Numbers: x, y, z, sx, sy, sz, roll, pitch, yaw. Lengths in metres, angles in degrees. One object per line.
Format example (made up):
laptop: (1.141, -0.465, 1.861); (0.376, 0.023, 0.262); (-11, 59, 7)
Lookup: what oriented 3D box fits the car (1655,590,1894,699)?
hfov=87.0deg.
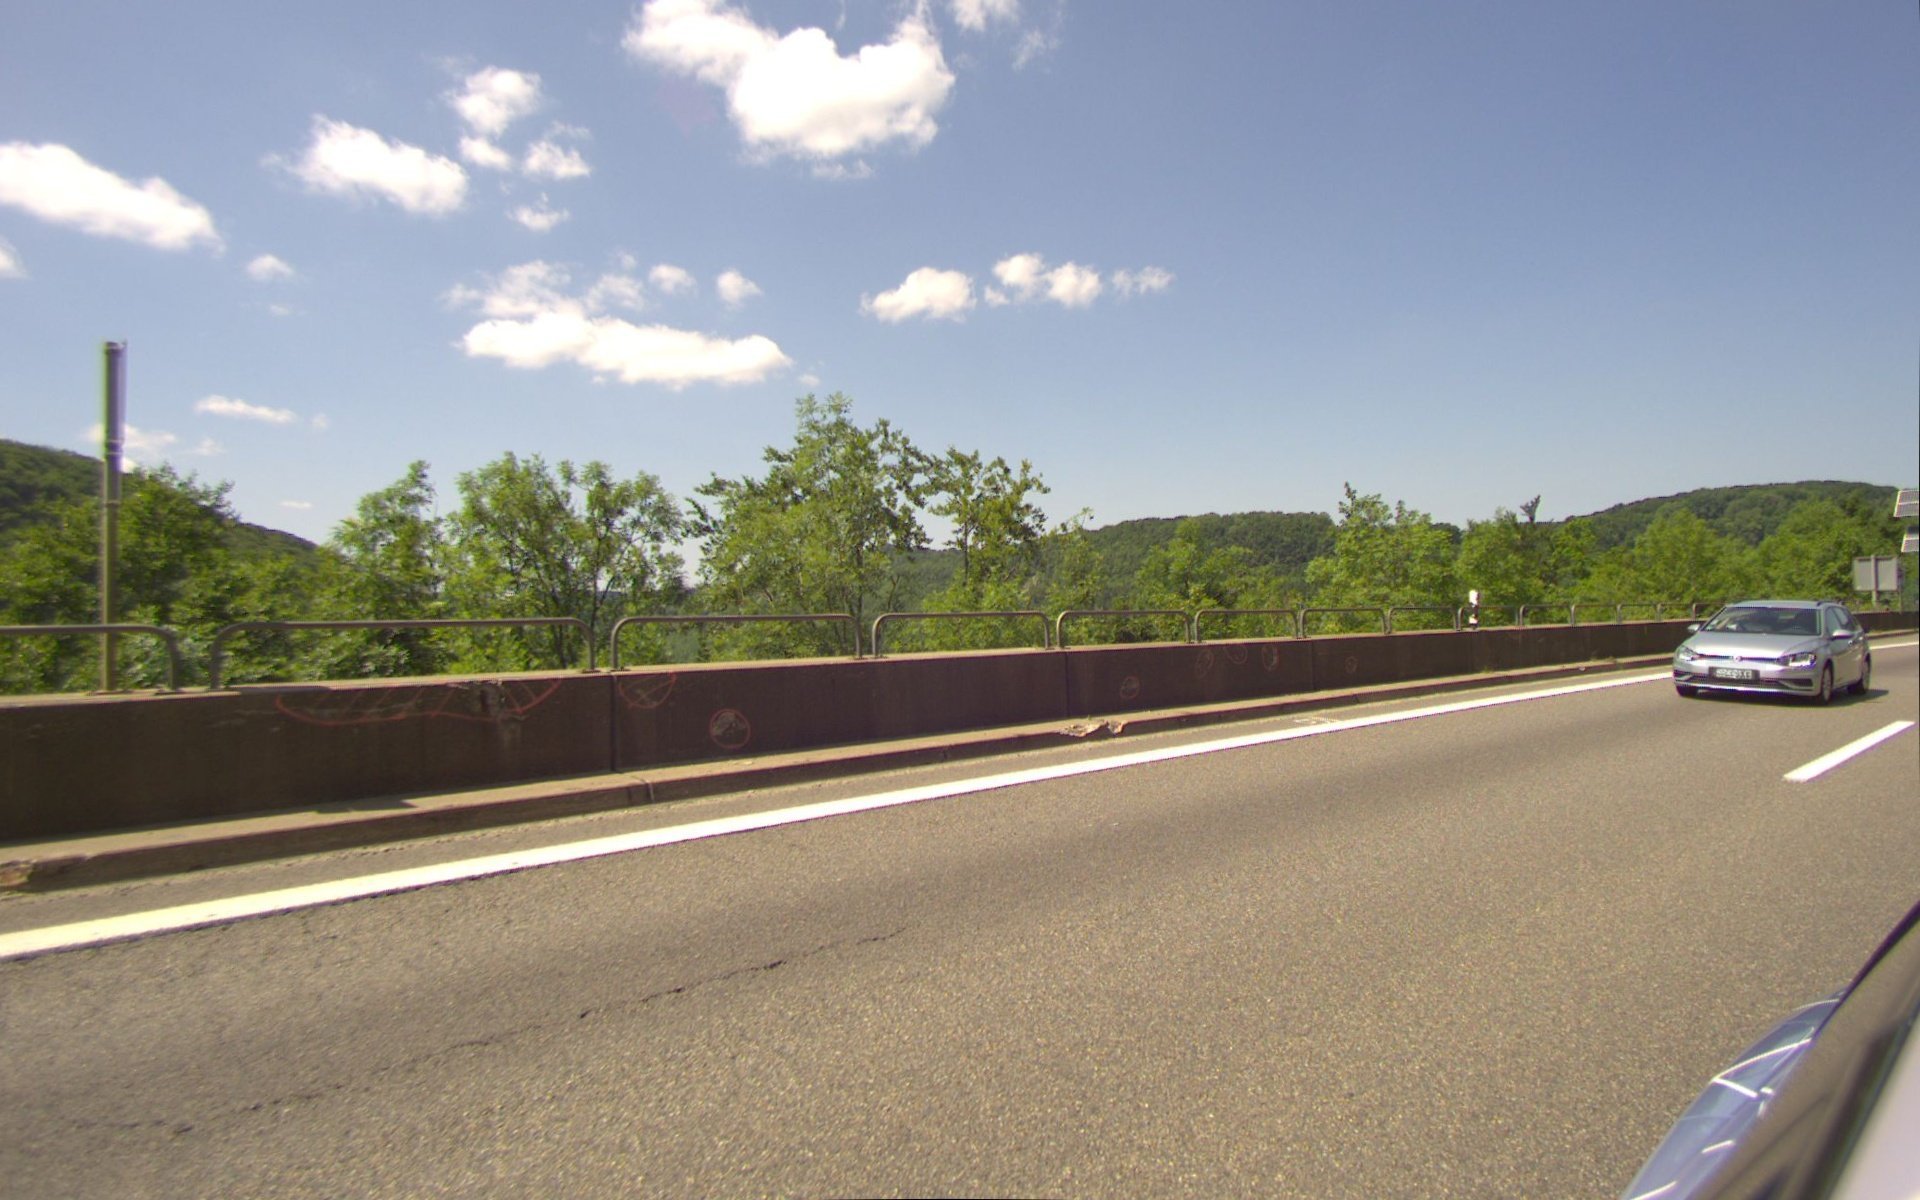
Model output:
car: (12.489, 0.564, 15.447); (4.216, 1.395, 1.973); (-1, 2, -39)
